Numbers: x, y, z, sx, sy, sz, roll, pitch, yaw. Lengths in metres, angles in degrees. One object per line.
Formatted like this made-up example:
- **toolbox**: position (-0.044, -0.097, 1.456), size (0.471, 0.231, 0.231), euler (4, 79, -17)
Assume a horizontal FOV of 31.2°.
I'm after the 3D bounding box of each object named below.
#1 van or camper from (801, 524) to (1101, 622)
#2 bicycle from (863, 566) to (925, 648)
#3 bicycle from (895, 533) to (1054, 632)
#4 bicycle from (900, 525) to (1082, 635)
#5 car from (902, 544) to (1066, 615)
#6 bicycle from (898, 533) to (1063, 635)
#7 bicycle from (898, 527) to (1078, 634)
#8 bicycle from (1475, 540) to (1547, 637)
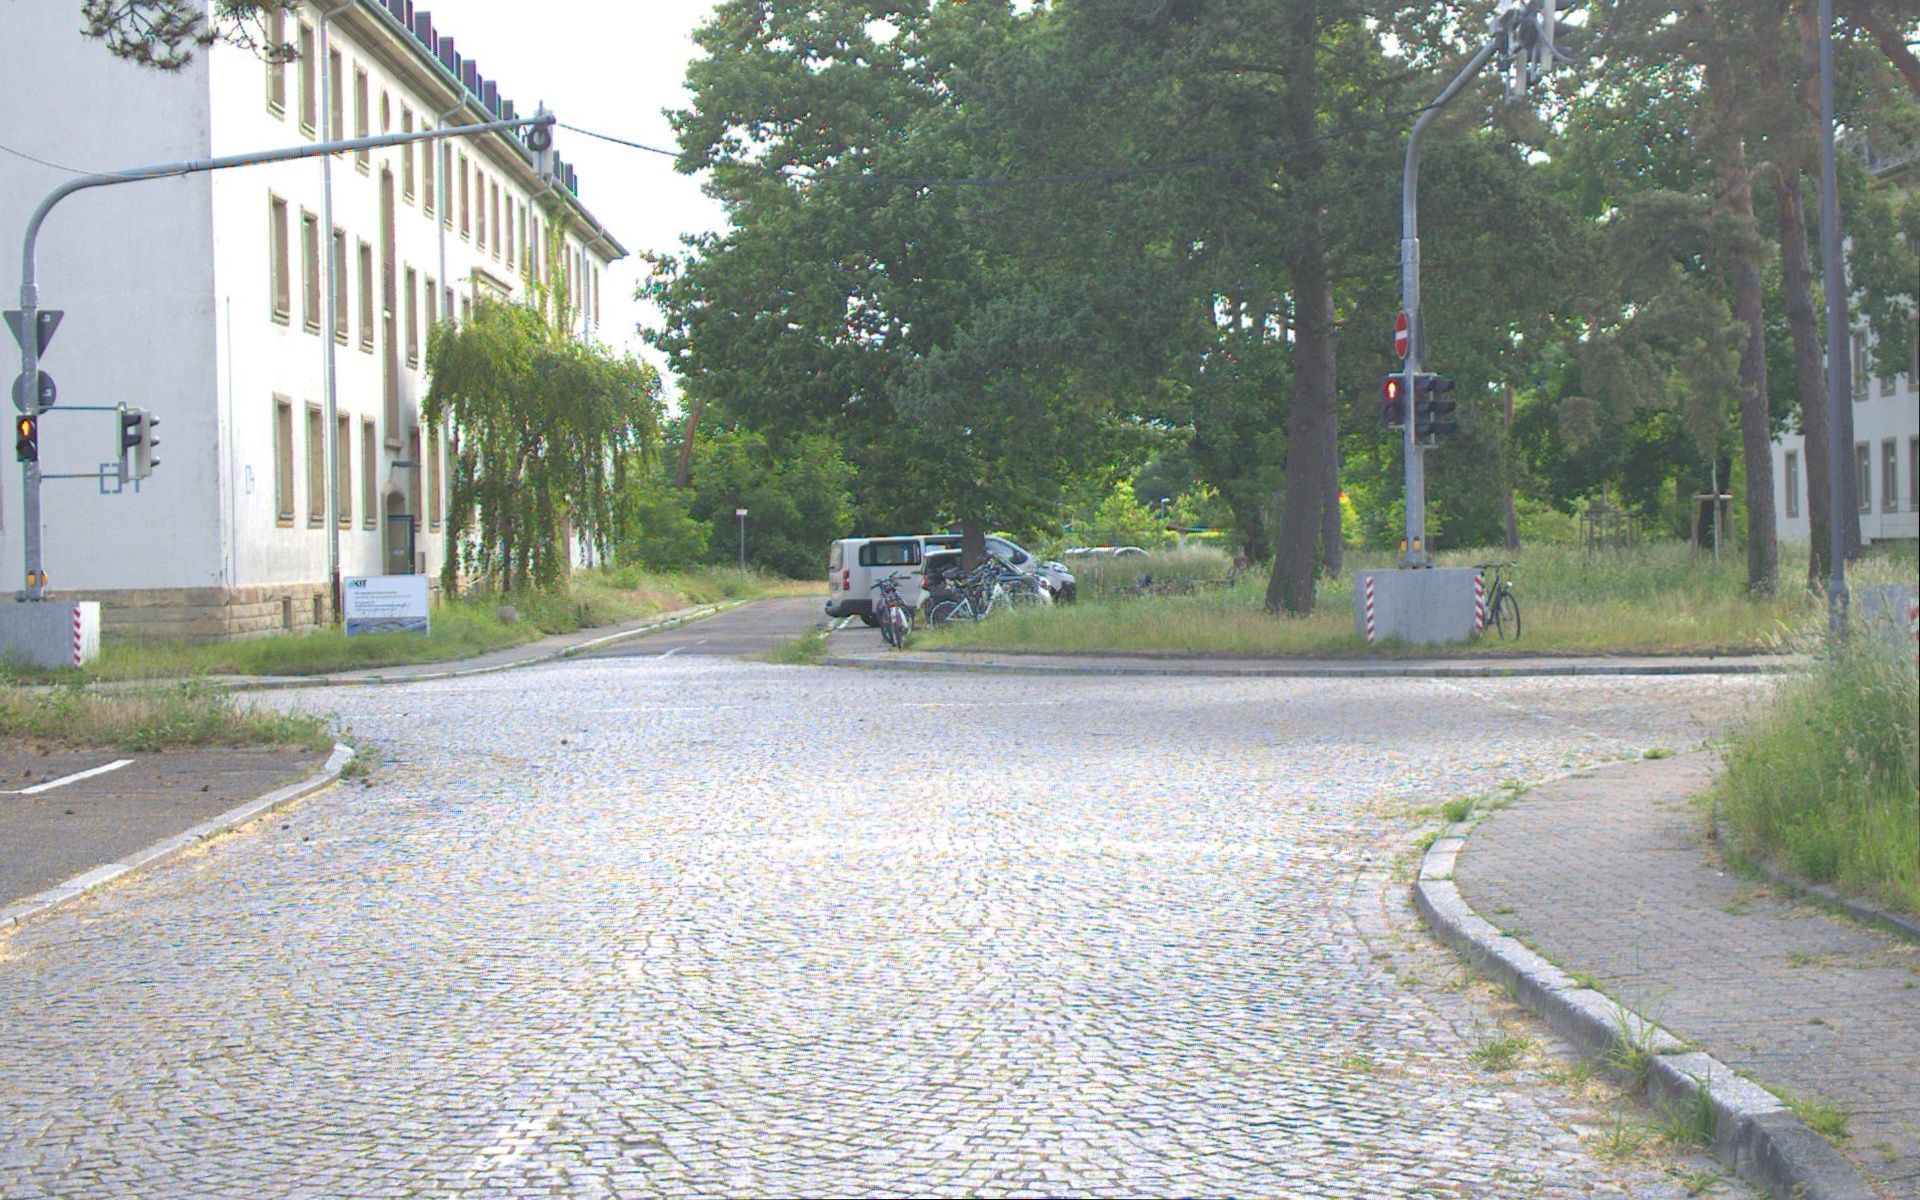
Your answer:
- **van or camper**: position (-0.199, -0.590, 73.128), size (6.030, 1.942, 2.001), euler (-1, 1, -14)
- **bicycle**: position (-0.968, 0.089, 50.883), size (0.725, 1.104, 2.462), euler (-5, 1, 1)
- **bicycle**: position (0.272, -0.318, 61.256), size (2.775, 1.688, 1.120), euler (1, 1, 1)
- **bicycle**: position (0.485, -0.334, 55.157), size (2.775, 1.688, 1.120), euler (-1, 1, -6)
- **car**: position (0.461, -0.427, 69.552), size (3.137, 1.349, 1.620), euler (-1, 1, -6)
- **bicycle**: position (0.367, -0.284, 59.918), size (2.776, 1.688, 1.120), euler (1, 1, 4)
- **bicycle**: position (0.450, -0.325, 56.352), size (2.775, 1.688, 1.120), euler (-1, 1, -7)
- **bicycle**: position (6.932, -0.156, 43.354), size (0.724, 1.165, 2.736), euler (1, 1, 6)
